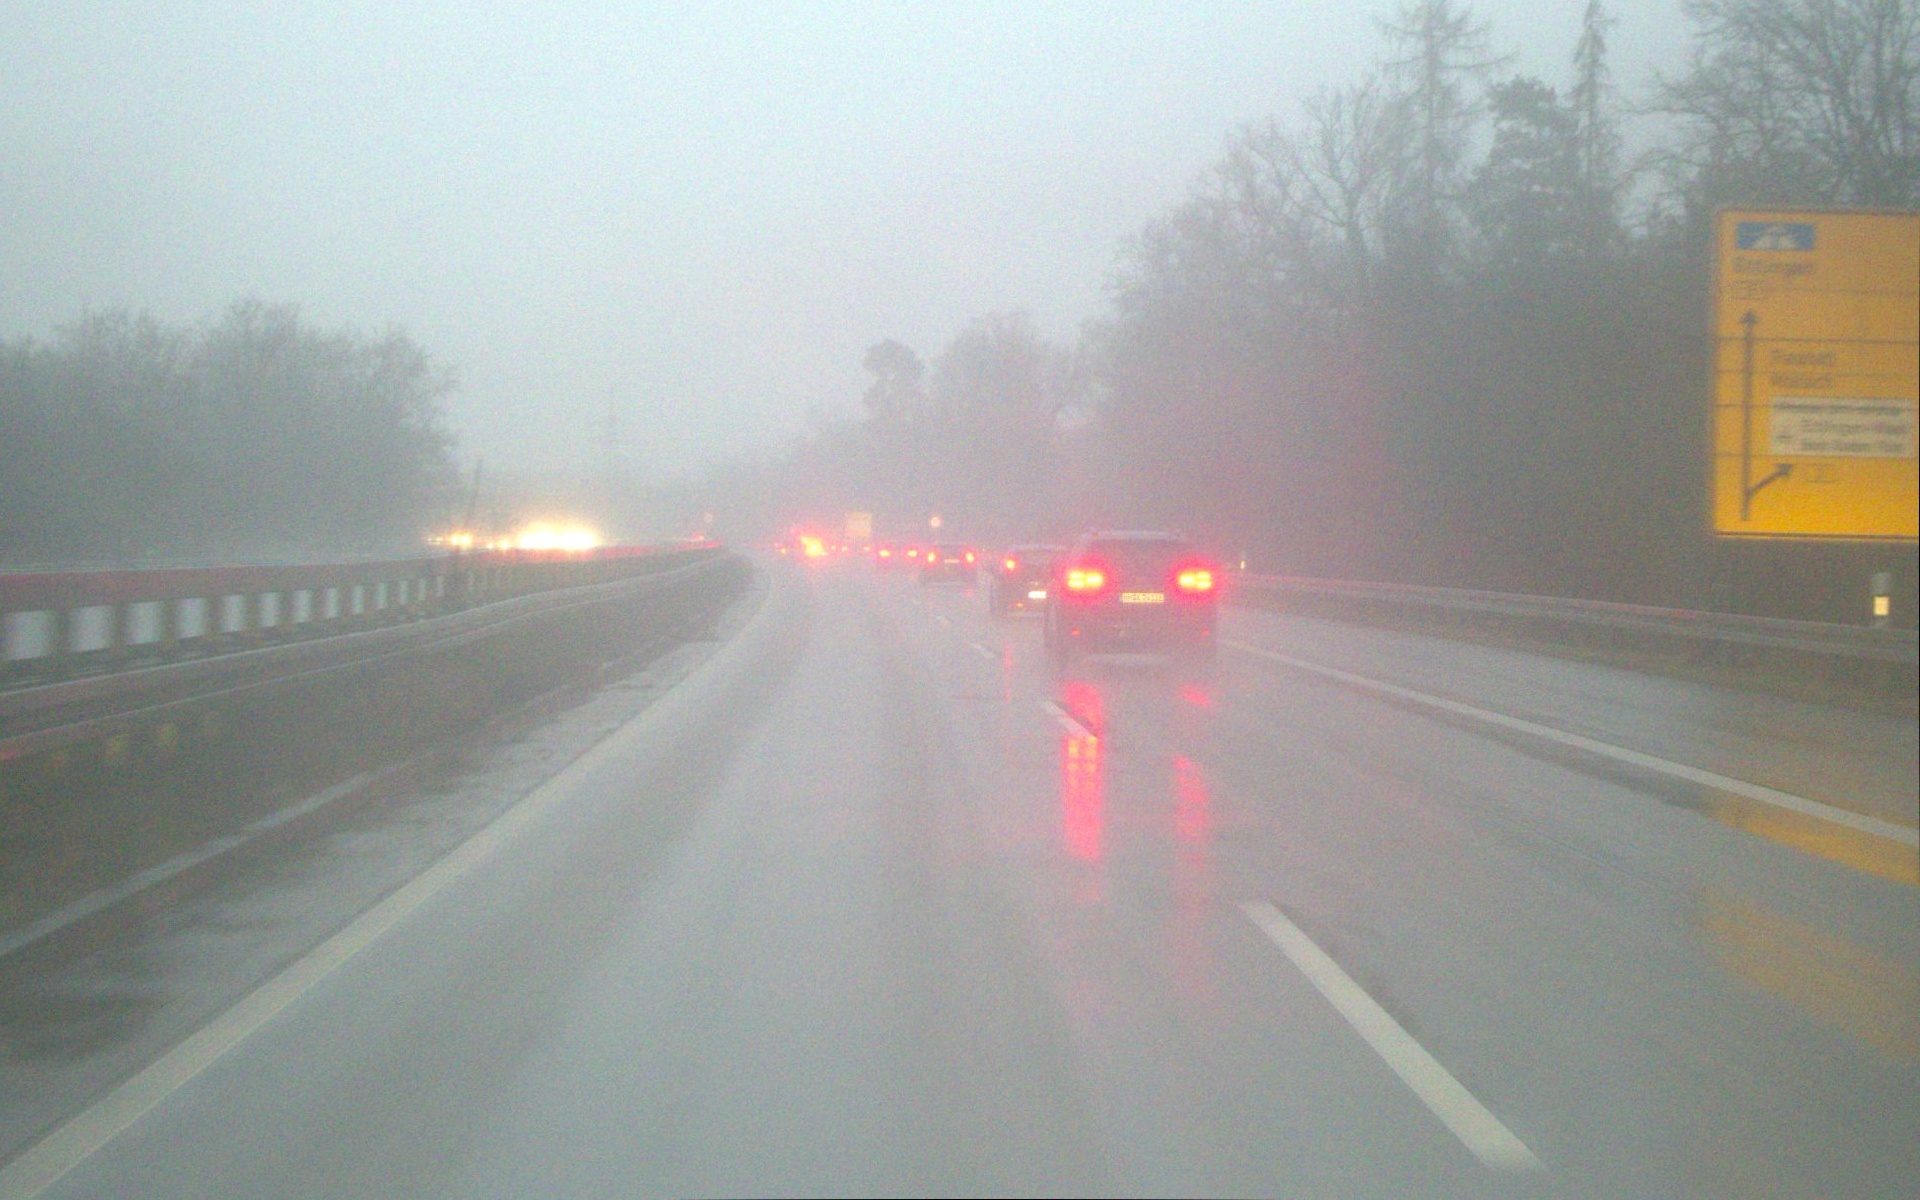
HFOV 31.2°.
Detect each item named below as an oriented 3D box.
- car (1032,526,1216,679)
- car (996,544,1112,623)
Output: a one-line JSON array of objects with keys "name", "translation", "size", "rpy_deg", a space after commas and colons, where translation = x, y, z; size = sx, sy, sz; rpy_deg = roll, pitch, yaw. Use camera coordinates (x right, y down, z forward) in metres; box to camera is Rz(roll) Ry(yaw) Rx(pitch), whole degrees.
[{"name": "car", "translation": [1.909, 0.008, 41.046], "size": [1.992, 1.709, 3.830], "rpy_deg": [1, 1, 0]}, {"name": "car", "translation": [1.797, -0.324, 66.890], "size": [1.993, 1.415, 4.000], "rpy_deg": [3, 0, -1]}]
